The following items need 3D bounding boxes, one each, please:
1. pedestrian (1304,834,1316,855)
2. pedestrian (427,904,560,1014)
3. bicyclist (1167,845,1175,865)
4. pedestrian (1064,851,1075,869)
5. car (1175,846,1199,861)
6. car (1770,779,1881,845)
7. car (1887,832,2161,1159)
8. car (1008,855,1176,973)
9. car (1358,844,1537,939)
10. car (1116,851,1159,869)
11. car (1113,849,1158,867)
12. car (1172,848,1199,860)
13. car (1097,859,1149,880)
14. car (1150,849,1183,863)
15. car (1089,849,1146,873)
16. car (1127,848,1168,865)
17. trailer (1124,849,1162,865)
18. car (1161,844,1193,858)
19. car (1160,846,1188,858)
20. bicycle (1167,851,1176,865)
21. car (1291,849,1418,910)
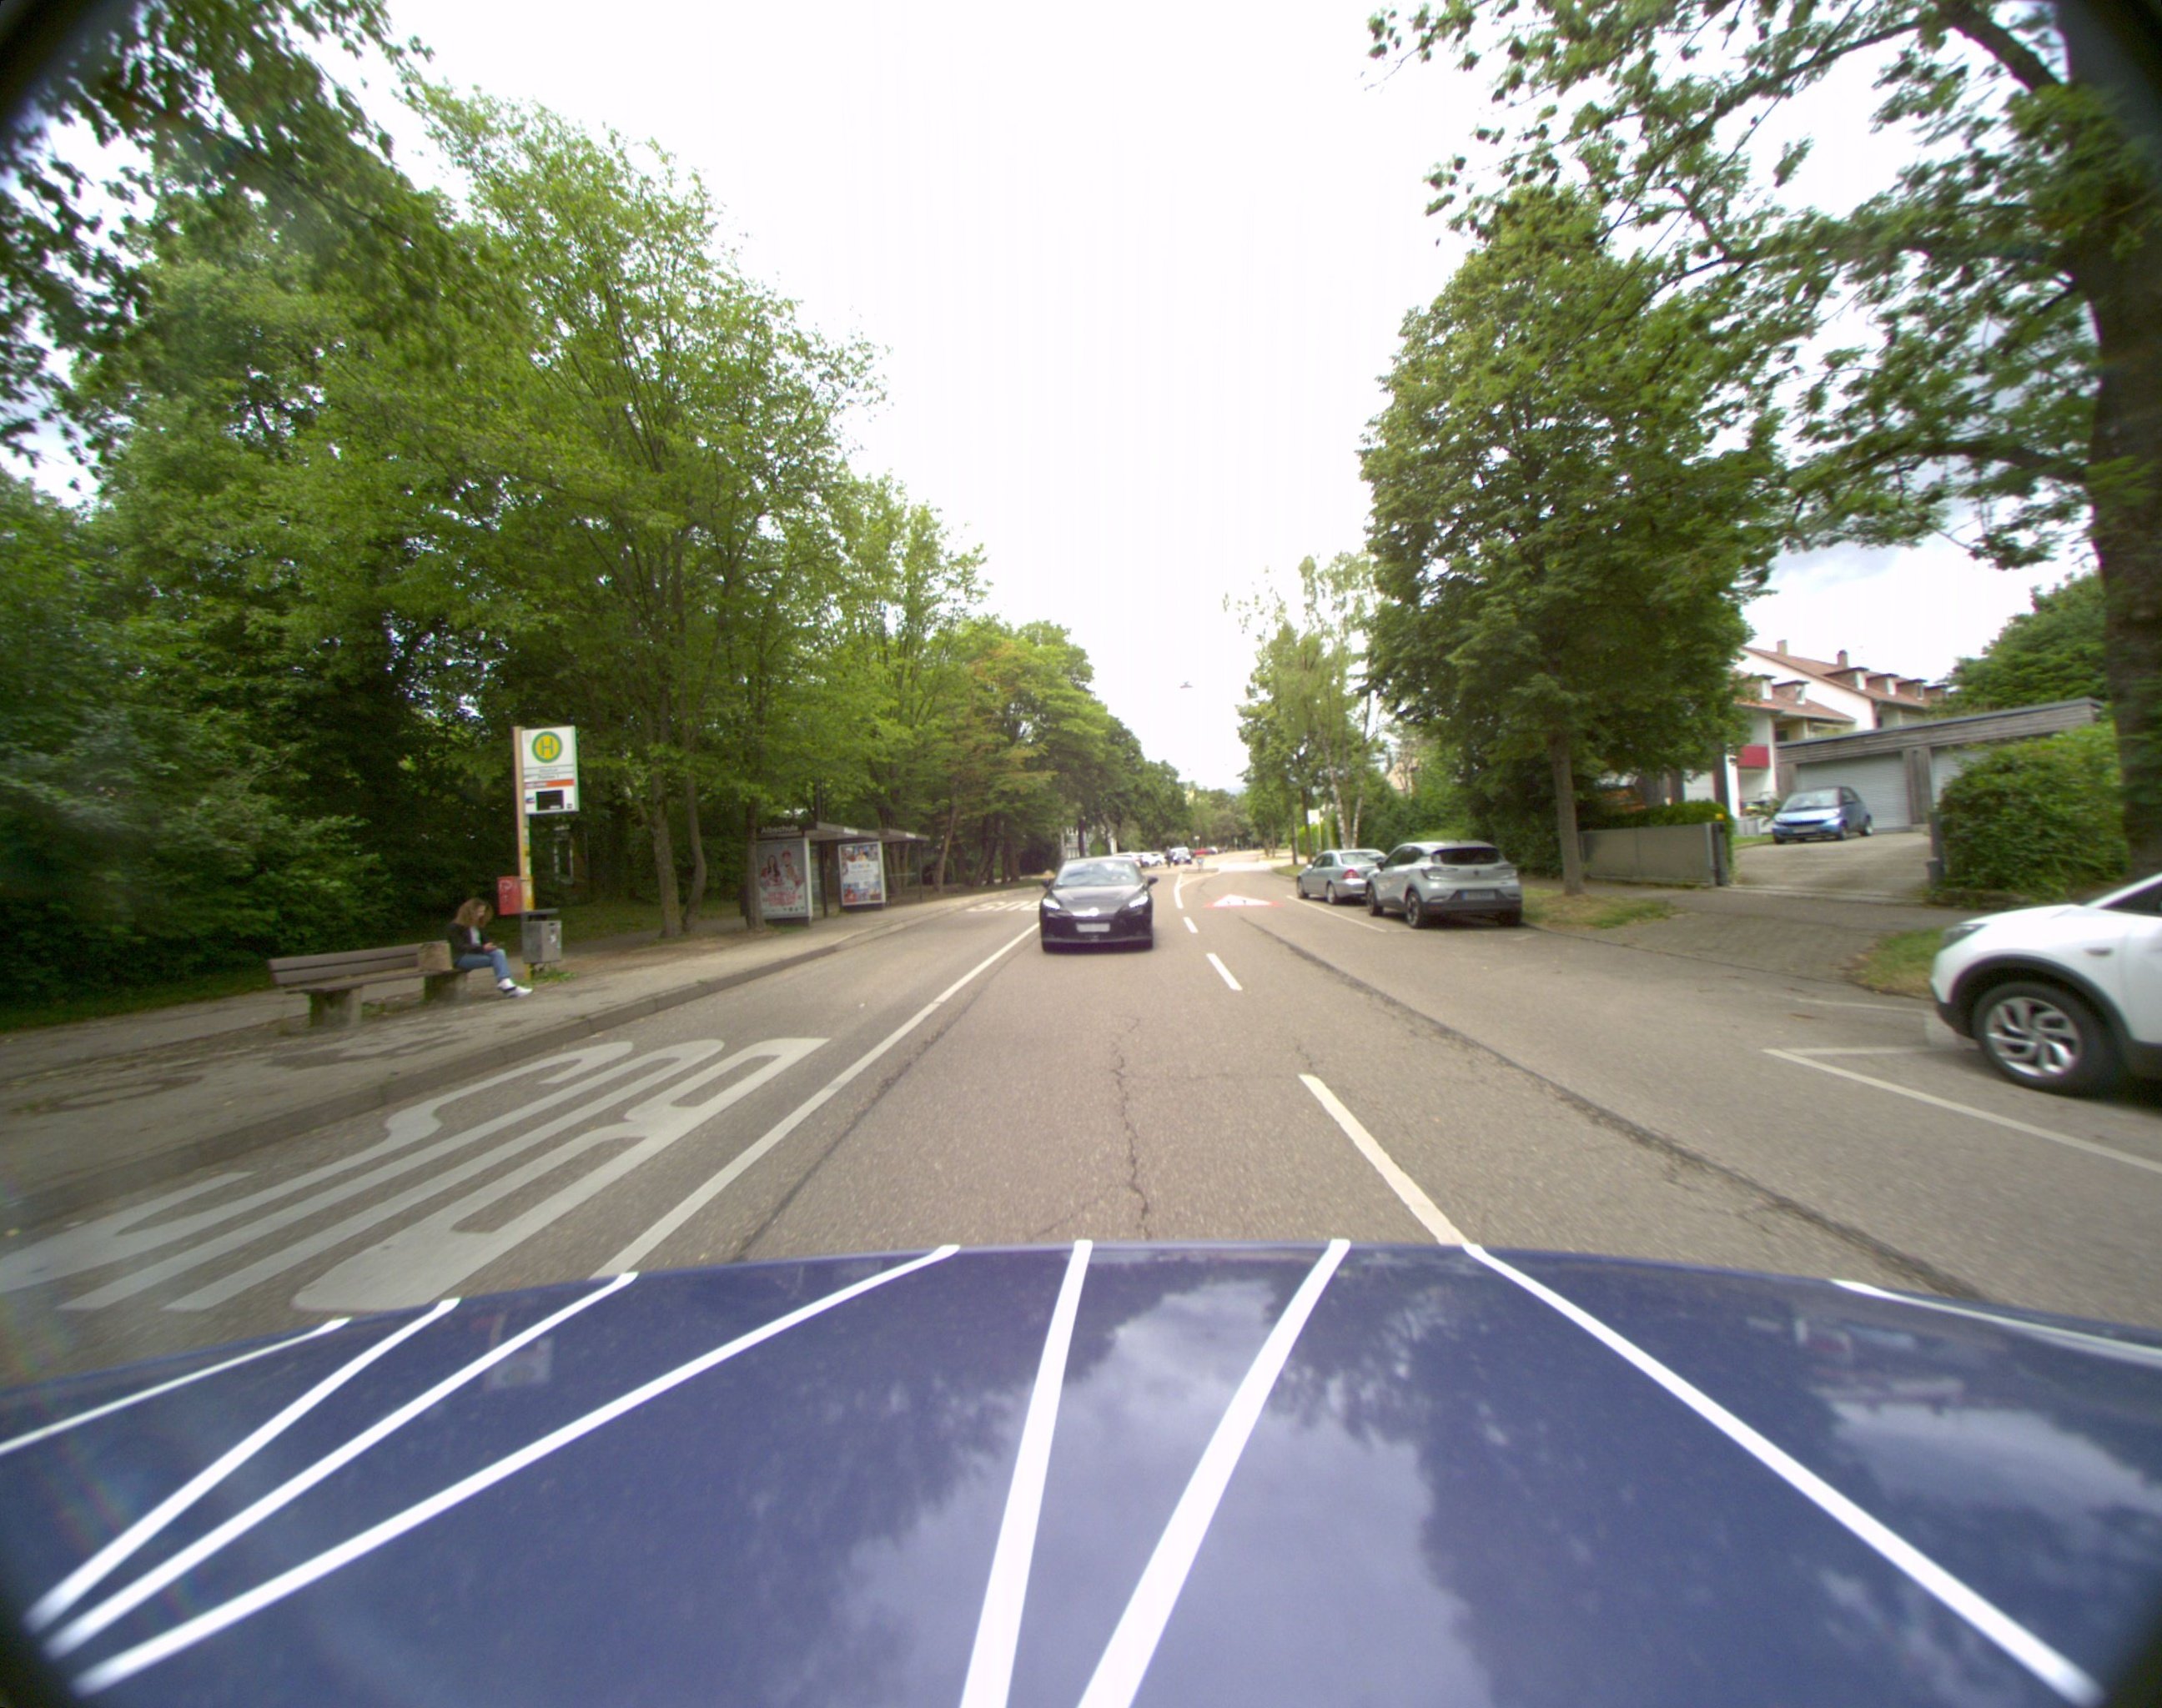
[{"bbox_3d":[19.164,-0.757,63.558,0.693,1.701,0.778,-3,1,6],"label":"pedestrian"},{"bbox_3d":[-6.924,1.219,8.987,1.066,1.175,0.580,-2,1,0],"label":"pedestrian"},{"bbox_3d":[8.052,0.086,67.852,0.647,1.769,0.628,-3,1,4],"label":"bicyclist"},{"bbox_3d":[-1.089,0.605,72.144,0.692,1.634,0.779,-3,1,34],"label":"pedestrian"},{"bbox_3d":[10.822,-0.103,77.454,1.859,1.366,4.080,-3,0,16],"label":"car"},{"bbox_3d":[21.561,-1.231,21.986,3.378,1.595,1.418,-6,2,-31],"label":"car"},{"bbox_3d":[6.081,0.680,2.885,1.739,1.569,4.142,-2,0,3],"label":"car"},{"bbox_3d":[0.359,0.850,12.298,1.811,1.484,3.797,-3,1,14],"label":"car"},{"bbox_3d":[6.811,0.616,14.639,1.739,1.529,4.191,-2,0,6],"label":"car"},{"bbox_3d":[5.817,0.629,78.066,4.000,1.455,1.794,-5,0,-10],"label":"car"},{"bbox_3d":[5.396,0.388,75.432,4.000,1.455,1.864,-5,0,-10],"label":"car"},{"bbox_3d":[16.217,-0.004,117.992,3.854,1.426,1.655,-5,0,1],"label":"car"},{"bbox_3d":[3.605,1.328,65.202,4.144,1.455,1.797,-5,0,-4],"label":"car"},{"bbox_3d":[11.156,0.245,99.335,3.856,1.426,1.714,-5,1,-10],"label":"car"},{"bbox_3d":[3.012,0.562,62.850,4.478,1.576,1.907,-5,0,3],"label":"car"},{"bbox_3d":[7.267,0.280,83.399,4.002,1.455,1.848,-5,0,-17],"label":"car"},{"bbox_3d":[6.999,0.331,86.175,3.998,1.543,1.658,-4,0,-3],"label":"trailer"},{"bbox_3d":[14.215,-0.502,112.725,4.222,1.748,1.858,-5,0,-9],"label":"car"},{"bbox_3d":[13.372,-0.255,109.564,3.854,1.430,1.716,-5,0,1],"label":"car"},{"bbox_3d":[8.049,0.355,67.820,0.647,1.230,1.878,-3,0,4],"label":"bicycle"},{"bbox_3d":[7.130,0.593,20.321,1.740,1.408,4.471,-2,0,0],"label":"car"}]
